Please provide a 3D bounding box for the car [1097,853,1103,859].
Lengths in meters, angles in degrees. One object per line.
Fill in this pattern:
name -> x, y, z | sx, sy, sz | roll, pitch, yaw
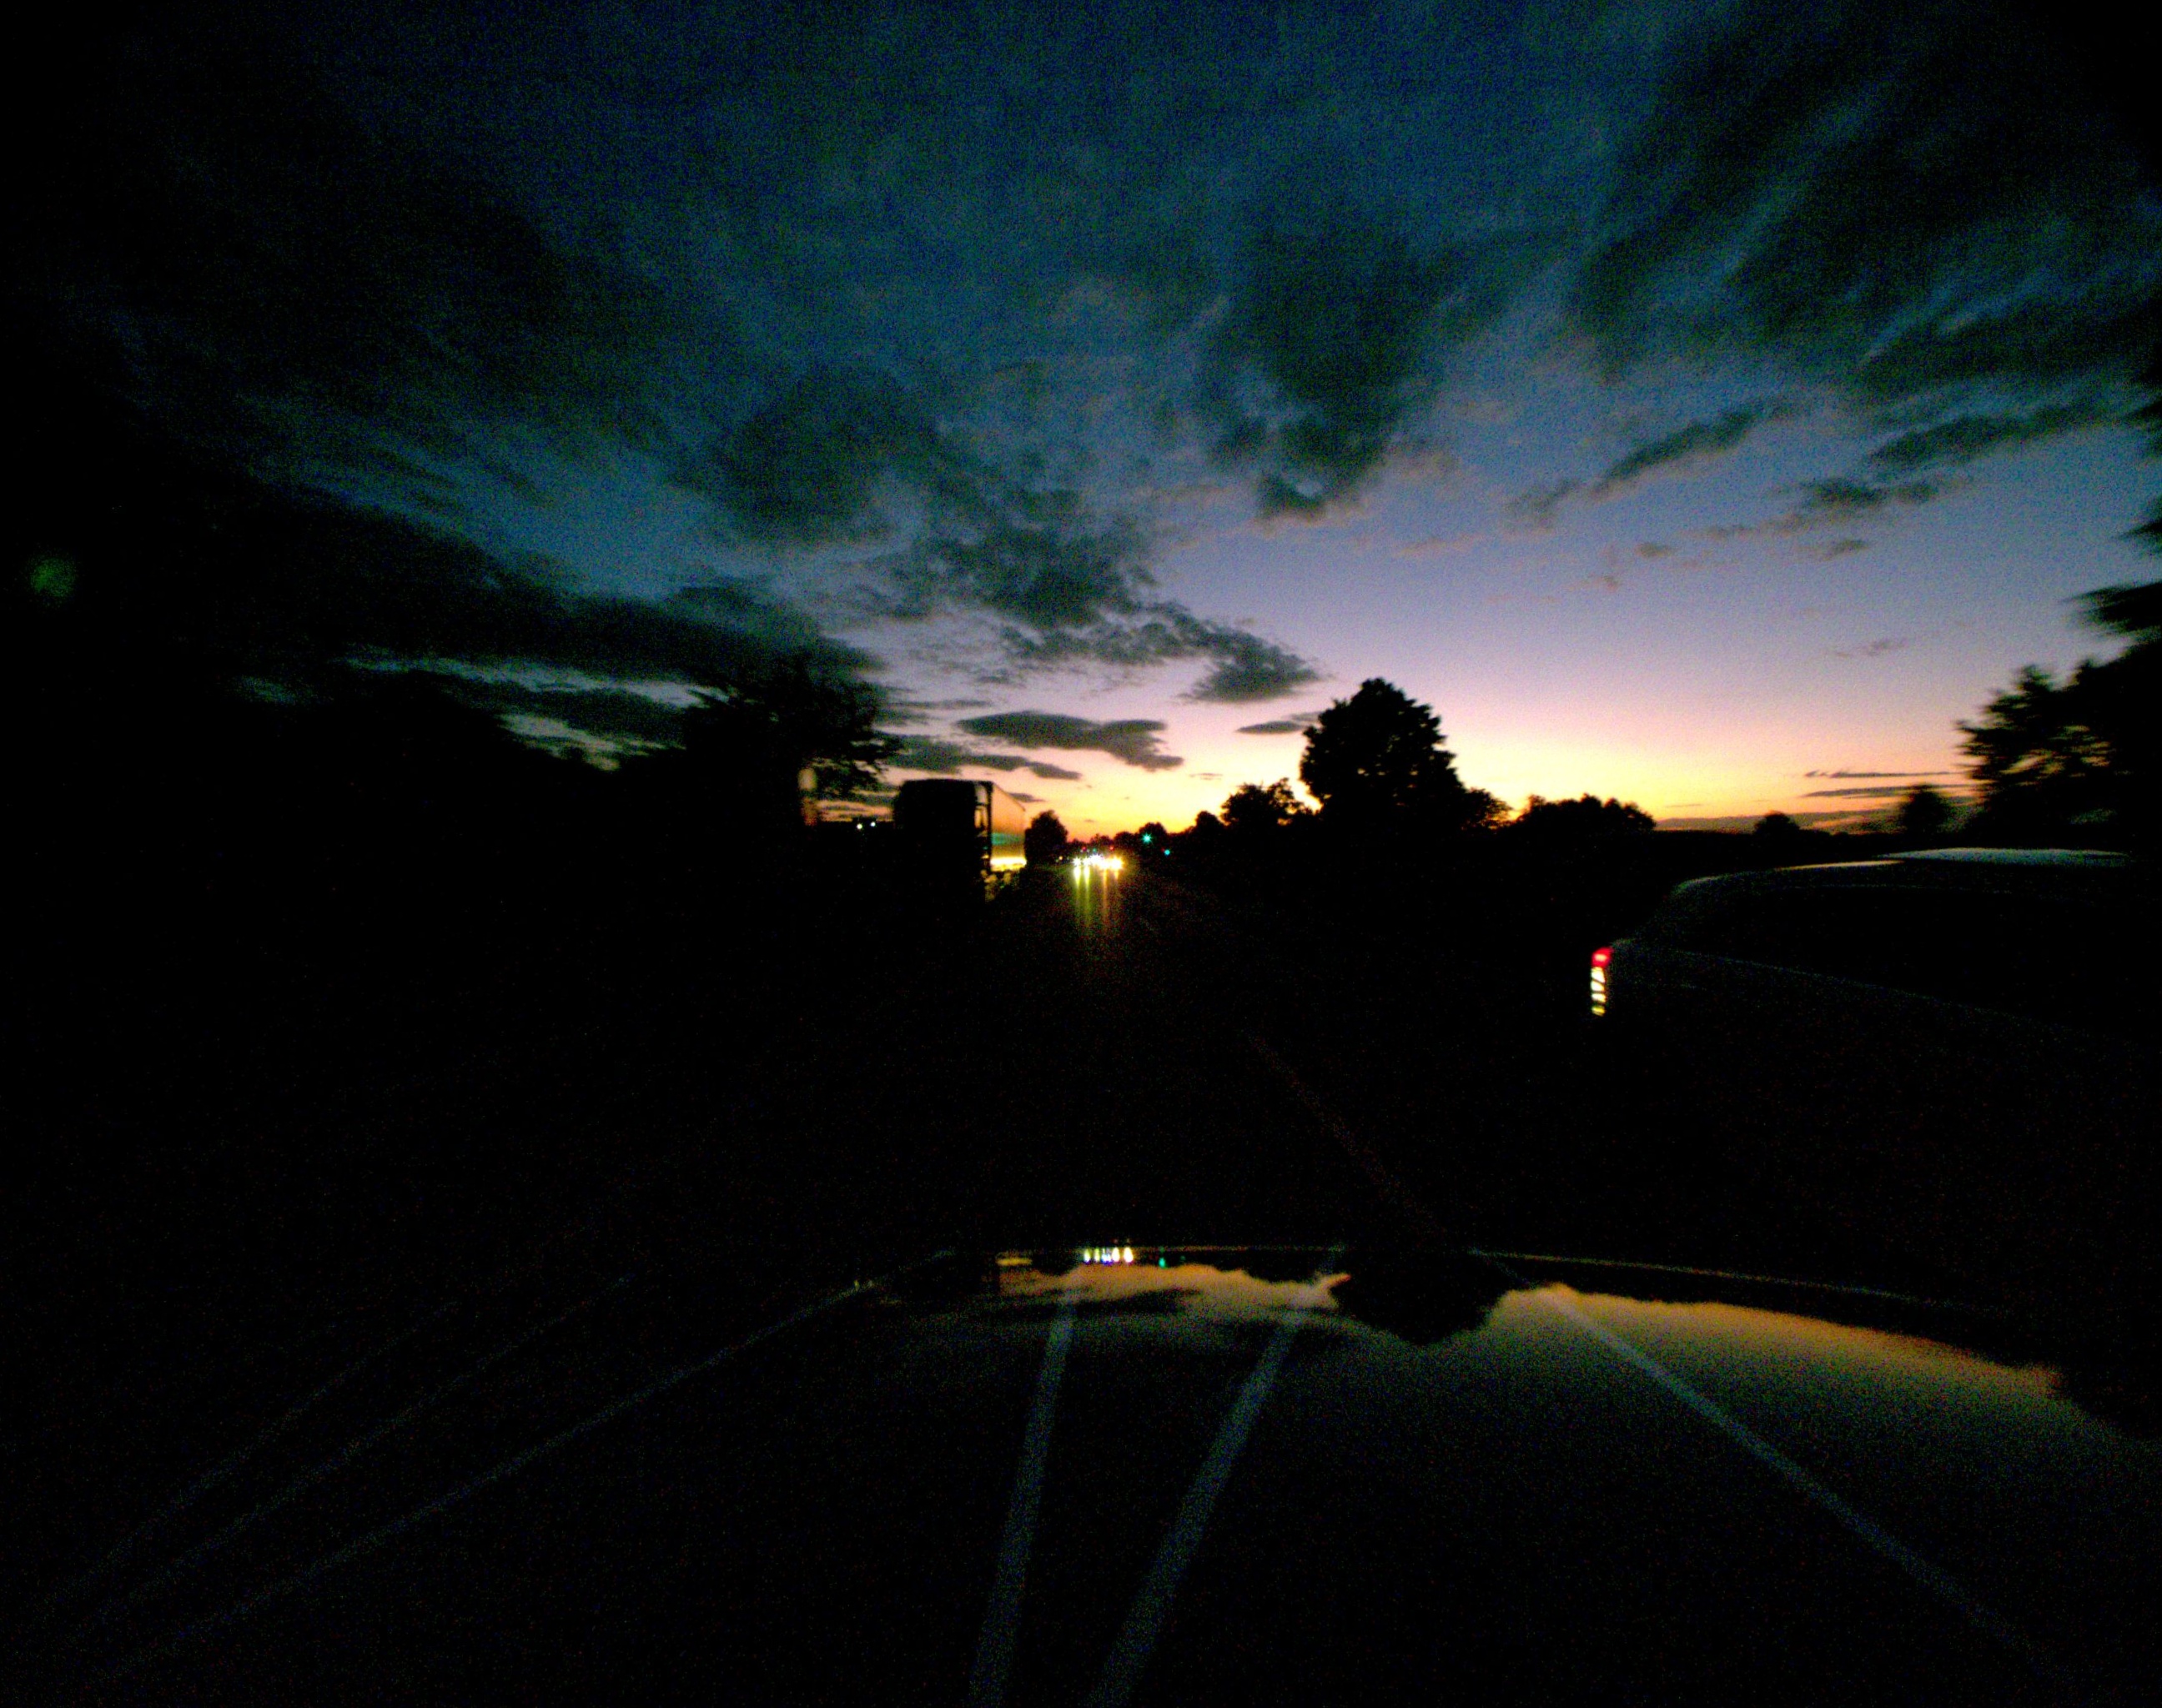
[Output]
car -> 6.195, 0.690, 251.602 | 1.998, 2.002, 4.000 | -2, 1, 2

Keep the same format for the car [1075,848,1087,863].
car -> 0.020, 0.237, 110.952 | 1.741, 2.002, 4.000 | -2, 0, 0

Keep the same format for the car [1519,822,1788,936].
car -> 12.392, 0.453, 17.061 | 1.970, 2.087, 5.346 | -2, 1, 0

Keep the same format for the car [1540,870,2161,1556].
car -> 3.336, 0.879, 1.901 | 1.646, 1.482, 4.579 | -2, 1, 1

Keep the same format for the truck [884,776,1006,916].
truck -> -3.995, -0.253, 23.617 | 2.490, 3.778, 5.498 | -2, 1, 2

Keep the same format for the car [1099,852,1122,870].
car -> 2.866, 0.690, 75.364 | 1.999, 1.635, 4.296 | -2, 1, -1

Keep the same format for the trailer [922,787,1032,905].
trailer -> -3.829, -0.312, 31.281 | 2.475, 3.789, 12.670 | -2, 1, 1

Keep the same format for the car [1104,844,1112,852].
car -> 7.210, -1.524, 201.908 | 1.999, 2.002, 3.999 | -2, 1, 0

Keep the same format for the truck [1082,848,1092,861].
truck -> 1.828, 0.073, 232.158 | 3.016, 3.674, 9.057 | -2, 1, 0
